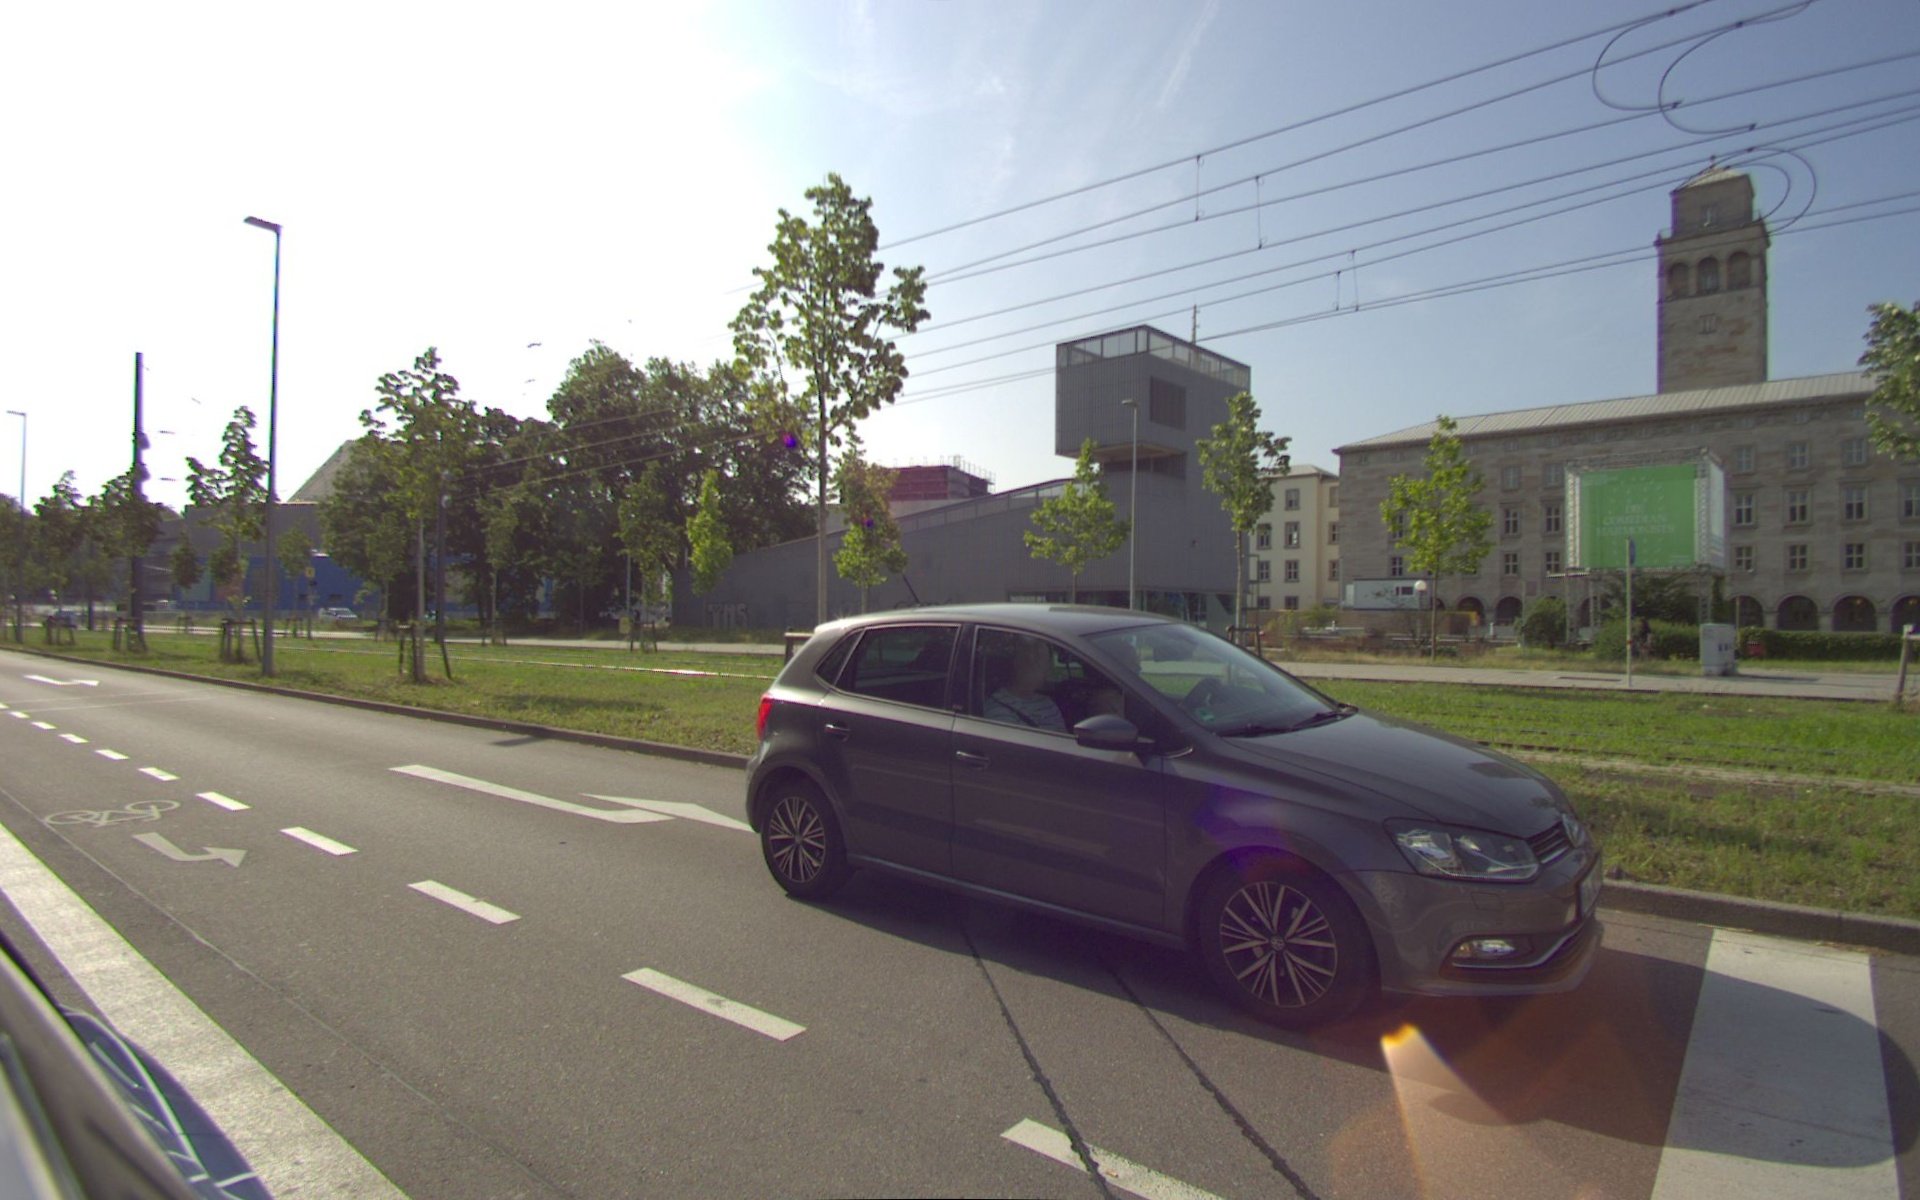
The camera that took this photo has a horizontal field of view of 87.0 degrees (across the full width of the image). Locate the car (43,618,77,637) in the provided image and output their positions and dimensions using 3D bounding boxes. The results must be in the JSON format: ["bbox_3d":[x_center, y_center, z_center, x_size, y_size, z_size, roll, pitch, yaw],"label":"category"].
[{"bbox_3d":[-80.338,2.435,90.334,3.768,1.630,1.734,-1,-2,40],"label":"car"}]

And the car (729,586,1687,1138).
[{"bbox_3d":[0.833,0.714,4.587,3.867,1.443,1.687,-1,0,41],"label":"car"}]

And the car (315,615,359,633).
[{"bbox_3d":[-64.745,2.509,105.153,4.808,1.781,1.997,-1,-2,32],"label":"car"}]
